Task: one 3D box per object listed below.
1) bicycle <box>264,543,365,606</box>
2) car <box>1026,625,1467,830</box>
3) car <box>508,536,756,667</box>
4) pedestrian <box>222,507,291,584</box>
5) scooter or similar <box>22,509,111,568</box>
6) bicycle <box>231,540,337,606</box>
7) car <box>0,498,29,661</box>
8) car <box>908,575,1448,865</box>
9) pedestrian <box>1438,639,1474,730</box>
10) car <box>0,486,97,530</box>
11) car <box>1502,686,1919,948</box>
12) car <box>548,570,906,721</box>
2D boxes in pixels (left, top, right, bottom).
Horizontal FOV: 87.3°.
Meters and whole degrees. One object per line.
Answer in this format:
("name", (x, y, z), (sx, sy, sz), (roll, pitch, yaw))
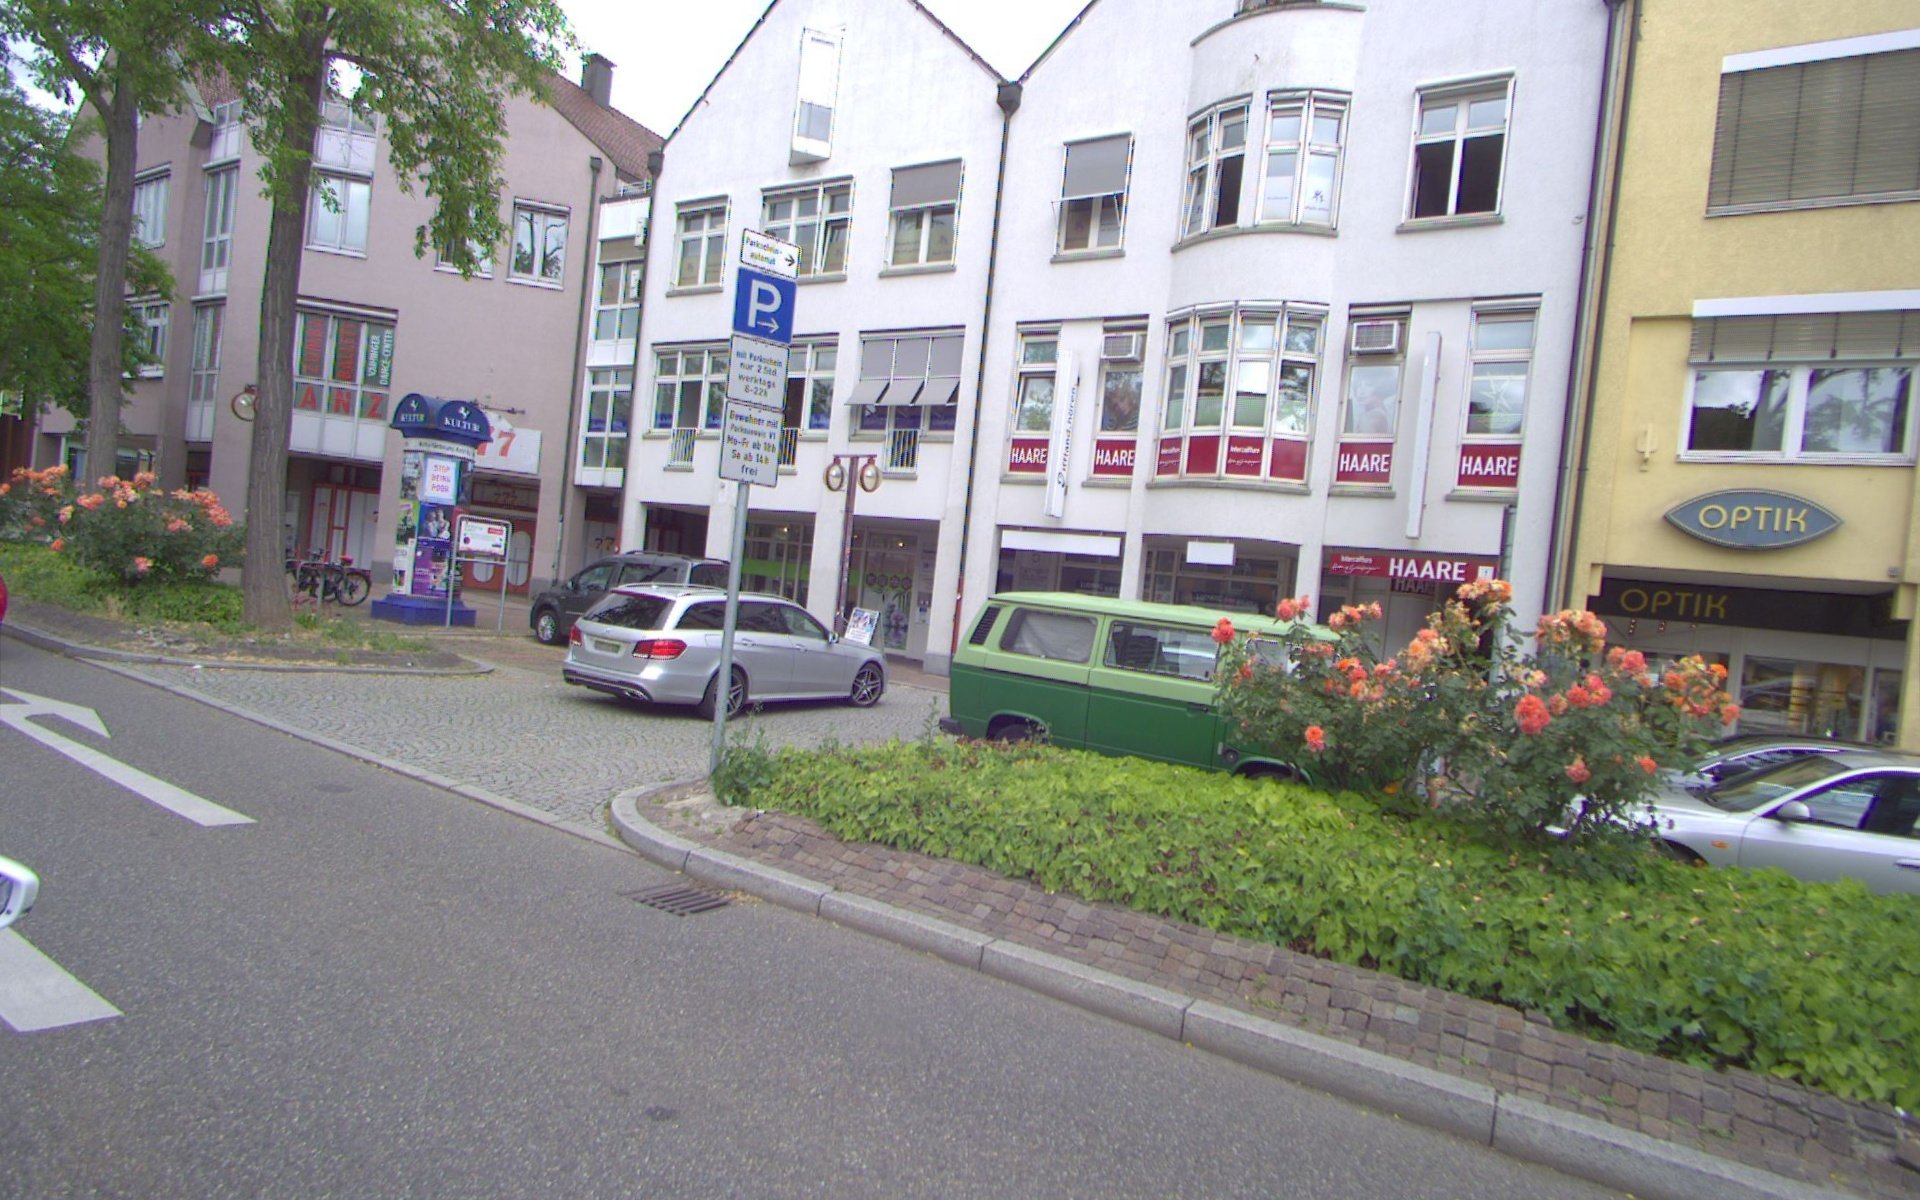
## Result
("bicycle", (-12.779, -0.496, 19.945), (1.545, 1.061, 0.405), (7, 1, -17))
("car", (3.389, 1.356, 12.110), (4.672, 1.567, 1.996), (6, 1, 28))
("car", (-5.921, 0.000, 18.074), (4.188, 1.827, 1.736), (7, 1, 29))
("pedestrian", (-16.441, -1.268, 23.512), (1.075, 1.647, 0.809), (7, 1, 29))
("scooter or similar", (-19.897, -1.366, 22.395), (1.852, 1.101, 0.471), (6, 1, 14))
("bicycle", (-12.934, -0.518, 19.275), (1.545, 1.061, 0.405), (7, 1, -17))
("car", (-10.514, -0.436, 9.415), (3.581, 1.465, 1.630), (7, -2, 32))
("car", (2.066, 0.961, 9.912), (4.672, 1.900, 1.996), (6, 1, 29))
("pedestrian", (9.272, 1.574, 18.821), (0.416, 1.631, 0.556), (7, 1, 24))
("car", (-40.694, -4.108, 43.905), (1.770, 1.421, 4.182), (7, -1, 29))
("car", (6.682, 1.635, 7.337), (4.673, 1.326, 1.840), (6, 1, 30))
("car", (-2.771, 0.599, 13.133), (1.711, 1.472, 4.643), (7, 0, 31))
